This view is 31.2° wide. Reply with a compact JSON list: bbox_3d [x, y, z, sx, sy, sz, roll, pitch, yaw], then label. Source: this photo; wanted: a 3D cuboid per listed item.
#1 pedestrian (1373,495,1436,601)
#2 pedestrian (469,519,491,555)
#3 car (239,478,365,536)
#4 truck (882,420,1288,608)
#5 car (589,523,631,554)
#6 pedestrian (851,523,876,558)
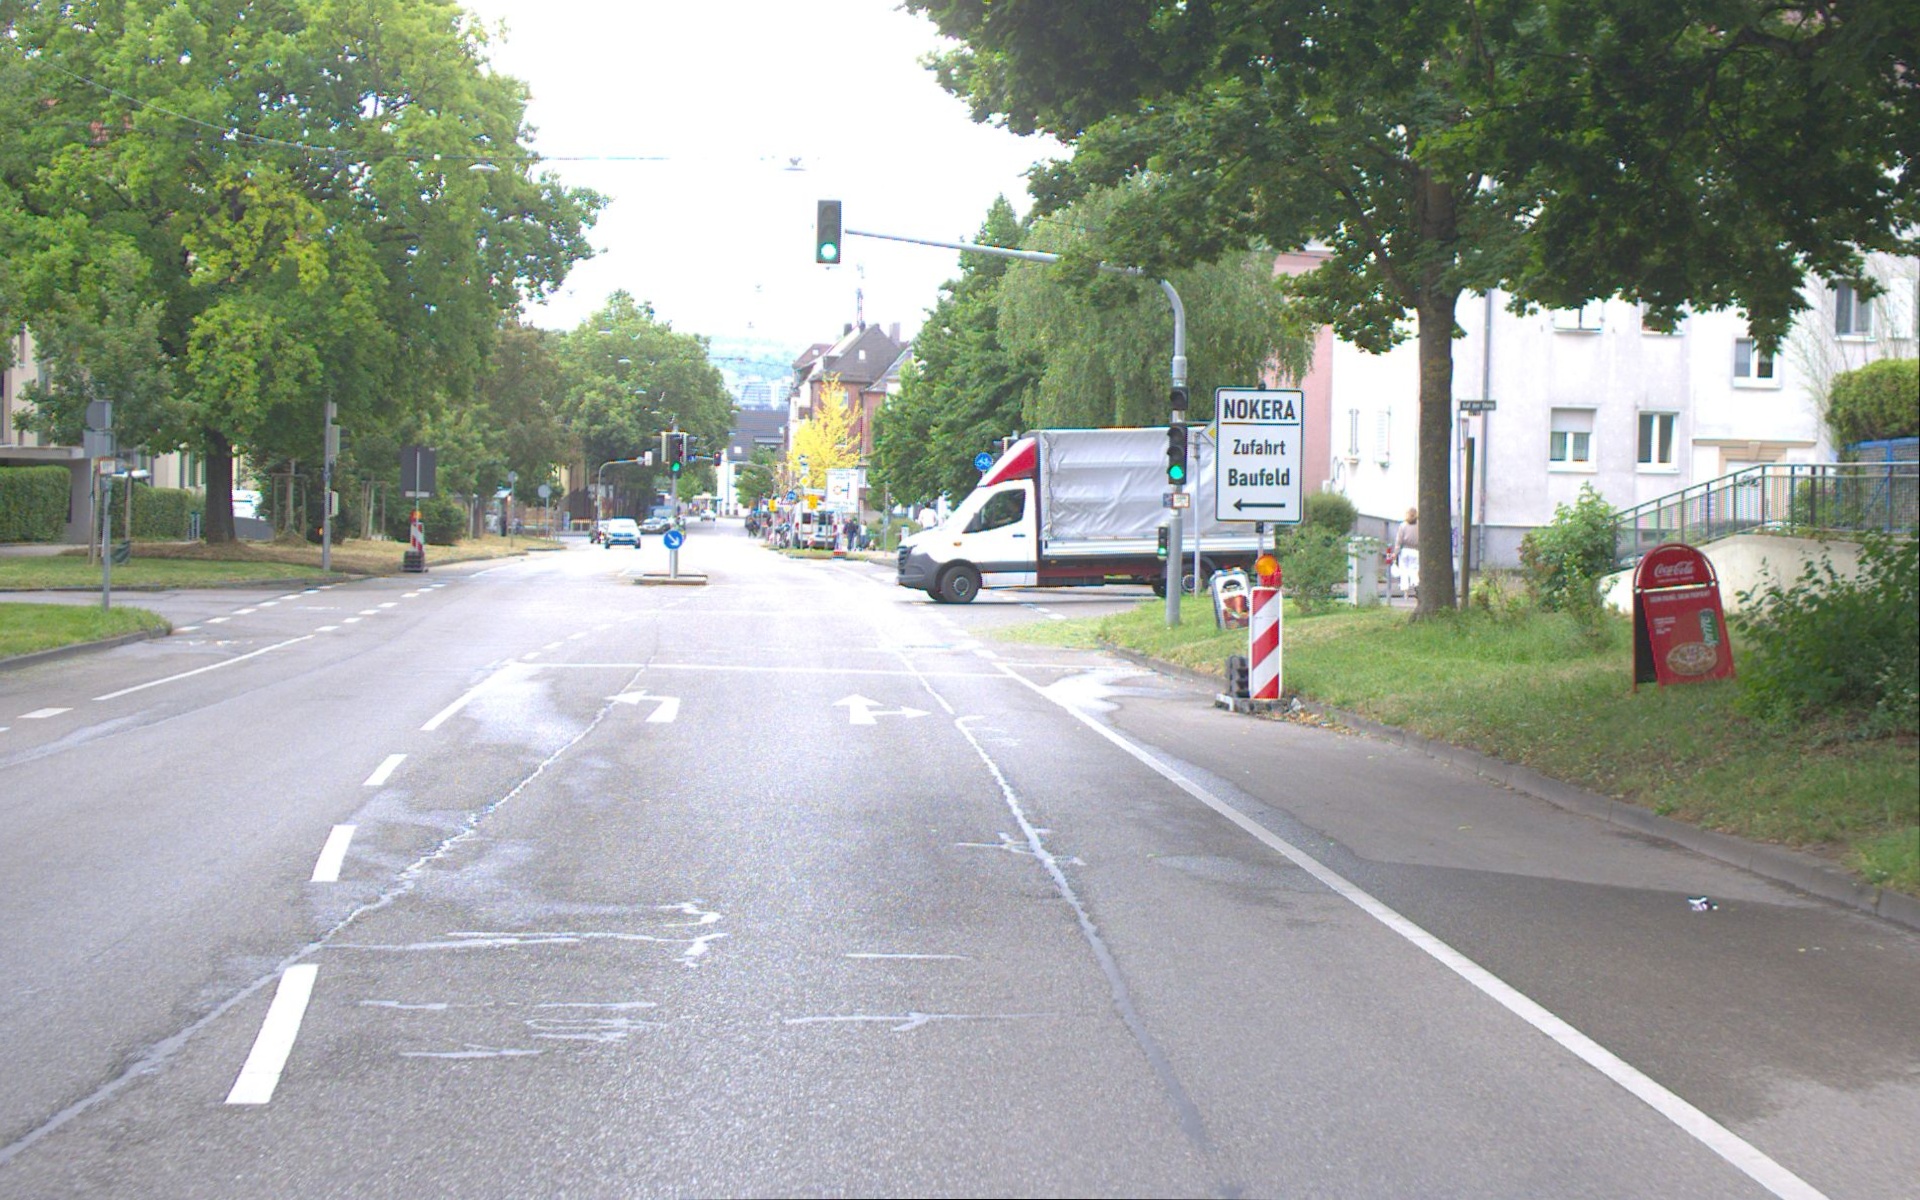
[{"bbox_3d":[7.946,-0.936,61.458,0.747,1.849,0.955,-2,2,-18],"label":"pedestrian"},{"bbox_3d":[-22.607,-2.971,161.897,0.947,1.644,1.043,2,1,-10],"label":"pedestrian"},{"bbox_3d":[-19.383,-2.738,101.386,3.448,1.590,2.000,2,1,-5],"label":"car"},{"bbox_3d":[2.286,-1.597,64.243,7.225,3.295,2.541,1,1,-6],"label":"truck"},{"bbox_3d":[-17.607,-3.106,173.251,1.993,1.500,4.001,2,1,-5],"label":"car"},{"bbox_3d":[-5.054,-3.096,179.866,1.200,1.804,1.301,2,1,-3],"label":"pedestrian"}]
